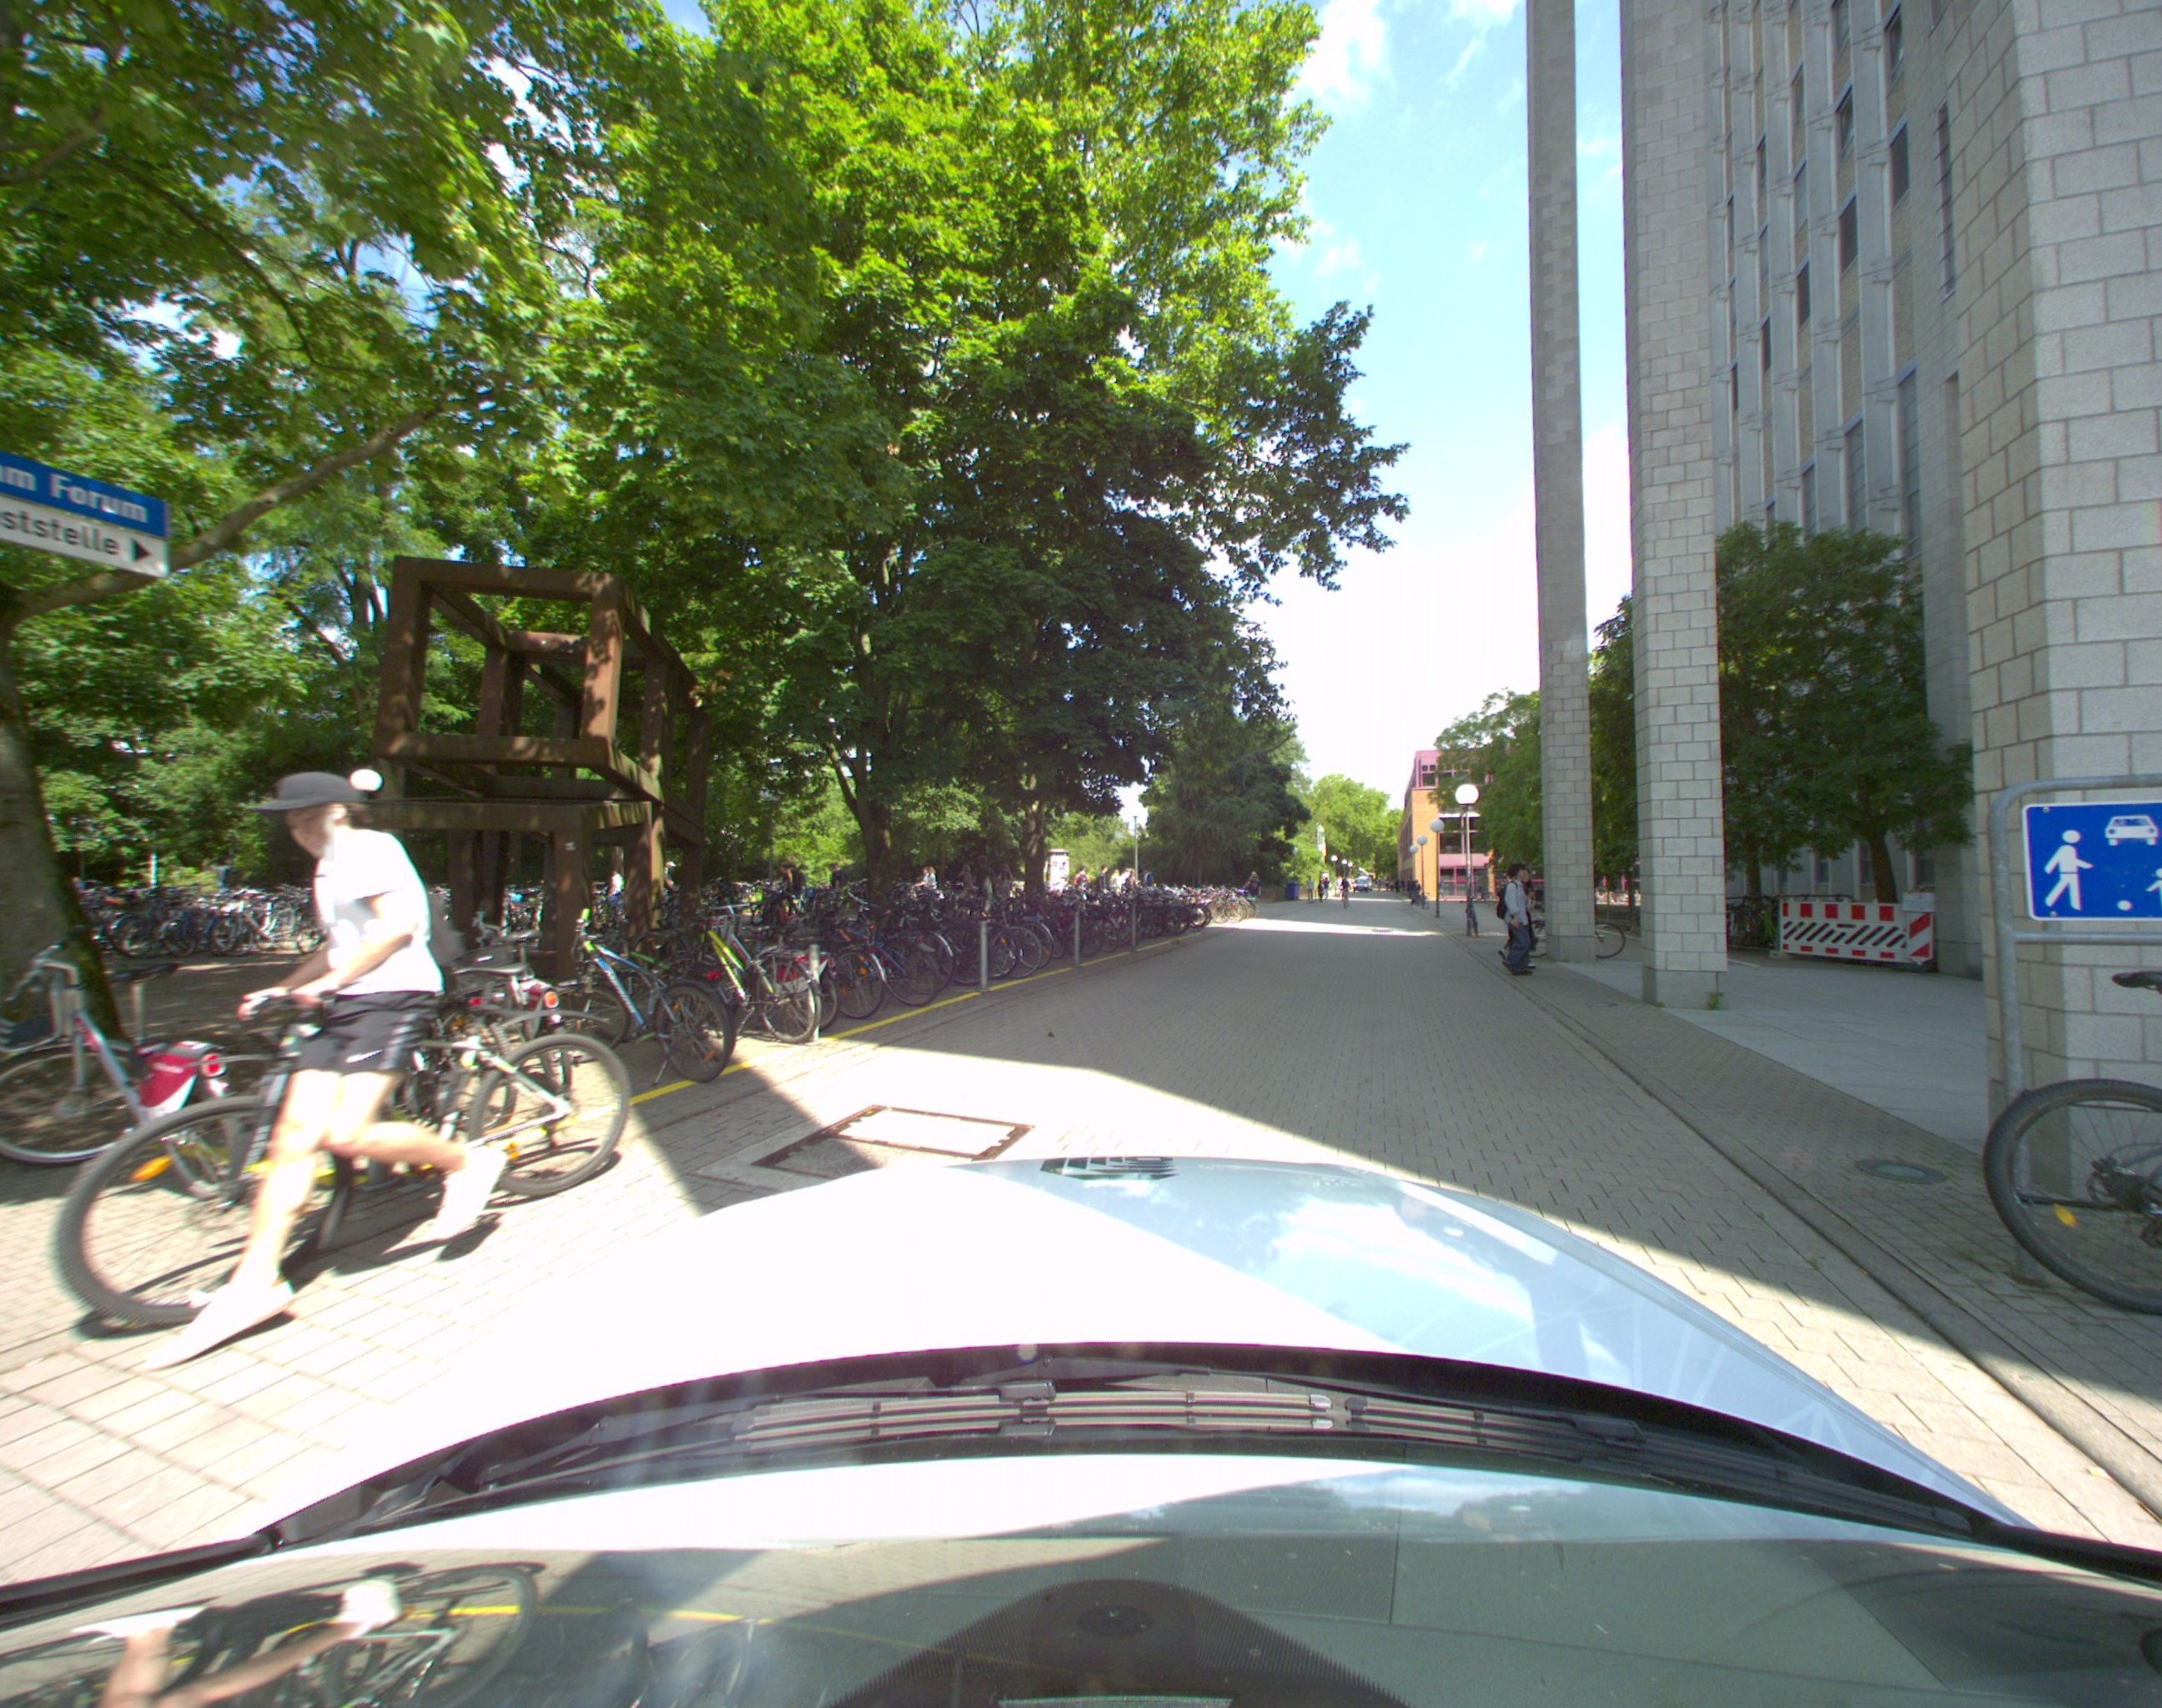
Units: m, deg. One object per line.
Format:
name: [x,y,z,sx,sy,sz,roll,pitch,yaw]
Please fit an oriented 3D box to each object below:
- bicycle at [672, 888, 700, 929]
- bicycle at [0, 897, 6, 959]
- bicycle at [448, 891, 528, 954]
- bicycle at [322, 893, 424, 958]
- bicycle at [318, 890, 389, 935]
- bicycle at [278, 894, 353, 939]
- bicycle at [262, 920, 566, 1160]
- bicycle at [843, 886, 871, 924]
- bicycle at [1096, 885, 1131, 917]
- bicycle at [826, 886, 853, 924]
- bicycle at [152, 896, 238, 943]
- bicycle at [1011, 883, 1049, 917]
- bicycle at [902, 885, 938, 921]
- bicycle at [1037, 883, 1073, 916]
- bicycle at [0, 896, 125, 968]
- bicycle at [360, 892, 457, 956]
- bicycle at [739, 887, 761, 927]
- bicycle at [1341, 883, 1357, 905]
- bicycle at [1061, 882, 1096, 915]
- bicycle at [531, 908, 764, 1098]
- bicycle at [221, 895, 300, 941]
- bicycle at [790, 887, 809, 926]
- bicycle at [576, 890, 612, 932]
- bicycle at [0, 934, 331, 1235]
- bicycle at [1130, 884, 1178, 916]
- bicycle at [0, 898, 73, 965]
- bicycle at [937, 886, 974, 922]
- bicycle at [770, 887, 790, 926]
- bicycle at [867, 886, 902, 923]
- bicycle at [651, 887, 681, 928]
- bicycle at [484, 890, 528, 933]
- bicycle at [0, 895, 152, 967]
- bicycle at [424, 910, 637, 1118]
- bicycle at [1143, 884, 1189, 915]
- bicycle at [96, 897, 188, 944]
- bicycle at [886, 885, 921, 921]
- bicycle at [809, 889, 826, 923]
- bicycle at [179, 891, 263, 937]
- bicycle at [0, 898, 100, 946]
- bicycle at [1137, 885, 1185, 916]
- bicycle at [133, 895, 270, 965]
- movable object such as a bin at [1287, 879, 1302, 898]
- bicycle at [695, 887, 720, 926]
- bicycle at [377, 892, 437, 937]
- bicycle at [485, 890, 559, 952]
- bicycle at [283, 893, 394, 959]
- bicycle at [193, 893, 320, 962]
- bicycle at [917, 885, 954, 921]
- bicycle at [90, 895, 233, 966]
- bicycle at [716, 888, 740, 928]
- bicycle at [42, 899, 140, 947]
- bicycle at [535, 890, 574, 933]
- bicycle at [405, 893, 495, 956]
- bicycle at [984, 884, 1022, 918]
bicycle: [-11.191,1.529,23.100,0.474,1.084,1.688,1,-2,-19]
bicycle: [-19.542,1.297,13.637,0.500,1.108,2.025,1,-2,-7]
bicycle: [-11.470,1.289,15.823,0.501,1.108,1.898,1,-2,-13]
bicycle: [-13.276,1.302,15.349,0.501,1.108,1.900,1,-2,-10]
bicycle: [-18.575,1.478,20.846,0.472,1.084,1.694,1,-2,-9]
bicycle: [-19.605,1.581,20.900,0.472,1.084,1.694,1,-2,-9]
bicycle: [-3.647,0.941,4.446,1.611,1.108,0.499,-1,0,19]
bicycle: [-6.838,1.535,24.869,0.475,1.084,1.684,1,-2,-27]
bicycle: [1.139,1.654,29.114,0.475,1.084,1.684,1,-2,-28]
bicycle: [-7.334,1.536,24.684,0.475,1.084,1.684,1,-2,-27]
bicycle: [-22.205,1.613,20.460,0.472,1.084,1.694,1,-2,-9]
bicycle: [-1.717,1.540,27.316,0.476,1.084,1.681,2,-2,-35]
bicycle: [-5.062,1.513,25.551,0.476,1.084,1.681,2,-2,-35]
bicycle: [-0.915,1.550,27.986,0.476,1.084,1.682,2,-2,-32]
bicycle: [-17.771,1.299,14.046,0.501,1.108,2.021,1,-2,-12]
bicycle: [-12.630,1.281,15.363,0.501,1.108,1.900,1,-2,-10]
bicycle: [-9.604,1.519,23.675,0.474,1.084,1.688,1,-2,-19]
bicycle: [14.657,2.196,44.541,0.765,1.150,2.117,-2,-3,17]
bicycle: [-0.093,1.545,28.483,0.475,1.084,1.684,1,-2,-28]
bicycle: [-2.962,0.946,5.543,1.610,1.108,0.500,0,-2,25]
bicycle: [-20.832,1.594,20.717,0.472,1.084,1.694,1,-2,-9]
bicycle: [-8.265,1.509,23.934,0.474,1.084,1.688,1,-2,-19]
bicycle: [-13.327,1.534,22.321,0.474,1.084,1.688,1,-2,-19]
bicycle: [-4.236,0.956,3.702,1.611,1.108,0.499,-1,0,19]
bicycle: [2.627,1.647,29.382,1.677,1.084,0.477,-1,-2,33]
bicycle: [-18.522,1.325,13.867,0.501,1.108,2.021,1,-2,-12]
bicycle: [-4.015,1.572,26.015,0.476,1.084,1.681,2,-2,-35]
bicycle: [-8.870,1.521,24.044,0.474,1.084,1.688,1,-2,-19]
bicycle: [-6.074,1.535,25.148,0.476,1.084,1.681,2,-2,-35]
bicycle: [-11.655,1.481,22.891,0.474,1.084,1.688,1,-2,-19]
bicycle: [-15.394,1.525,21.849,0.474,1.084,1.688,1,-2,-19]
bicycle: [-17.369,1.288,14.139,0.501,1.108,2.021,1,-2,-12]
bicycle: [-3.578,0.950,5.252,1.609,1.108,0.500,-1,0,32]
bicycle: [3.159,1.675,30.259,1.678,1.110,0.477,-1,-2,32]
bicycle: [-23.104,1.612,20.082,0.472,1.084,1.694,1,-2,-9]
bicycle: [-5.548,1.511,25.388,0.476,1.084,1.681,2,-2,-35]
bicycle: [-7.800,1.518,24.087,0.452,0.962,1.729,1,-2,-19]
bicycle: [-21.583,1.476,20.479,0.472,1.084,1.694,1,-2,-9]
bicycle: [-25.213,1.644,19.953,0.472,1.084,1.694,1,-2,-9]
bicycle: [2.919,1.678,29.816,1.702,1.084,0.477,-1,-2,33]
bicycle: [-15.540,1.313,14.466,0.501,1.108,1.998,1,-2,-10]
movable object such as a bin: [15.952,2.580,60.835,0.702,1.336,1.247,2,-1,30]
bicycle: [-10.898,1.506,23.811,0.474,1.084,1.688,1,-2,-19]
bicycle: [-17.550,1.562,21.245,0.473,1.084,1.692,1,-2,-13]
bicycle: [-10.961,1.289,16.025,0.501,1.108,1.898,1,-2,-13]
bicycle: [-13.799,1.294,15.206,0.501,1.108,1.998,1,-2,-10]
bicycle: [-14.817,1.283,14.714,0.501,1.108,1.998,1,-2,-10]
bicycle: [-4.608,1.531,25.751,0.476,1.084,1.681,2,-2,-35]
bicycle: [-16.126,1.304,14.366,0.501,1.108,1.998,1,-2,-10]
bicycle: [-10.179,1.528,23.518,0.474,1.084,1.688,1,-2,-19]
bicycle: [-24.174,1.664,19.935,0.472,1.084,1.694,1,-2,-9]
bicycle: [-14.299,1.547,22.148,0.474,1.084,1.688,1,-2,-19]
bicycle: [-12.148,1.325,15.747,0.501,1.108,1.900,1,-2,-10]
bicycle: [-2.595,1.537,26.924,0.476,1.084,1.681,2,-2,-35]
